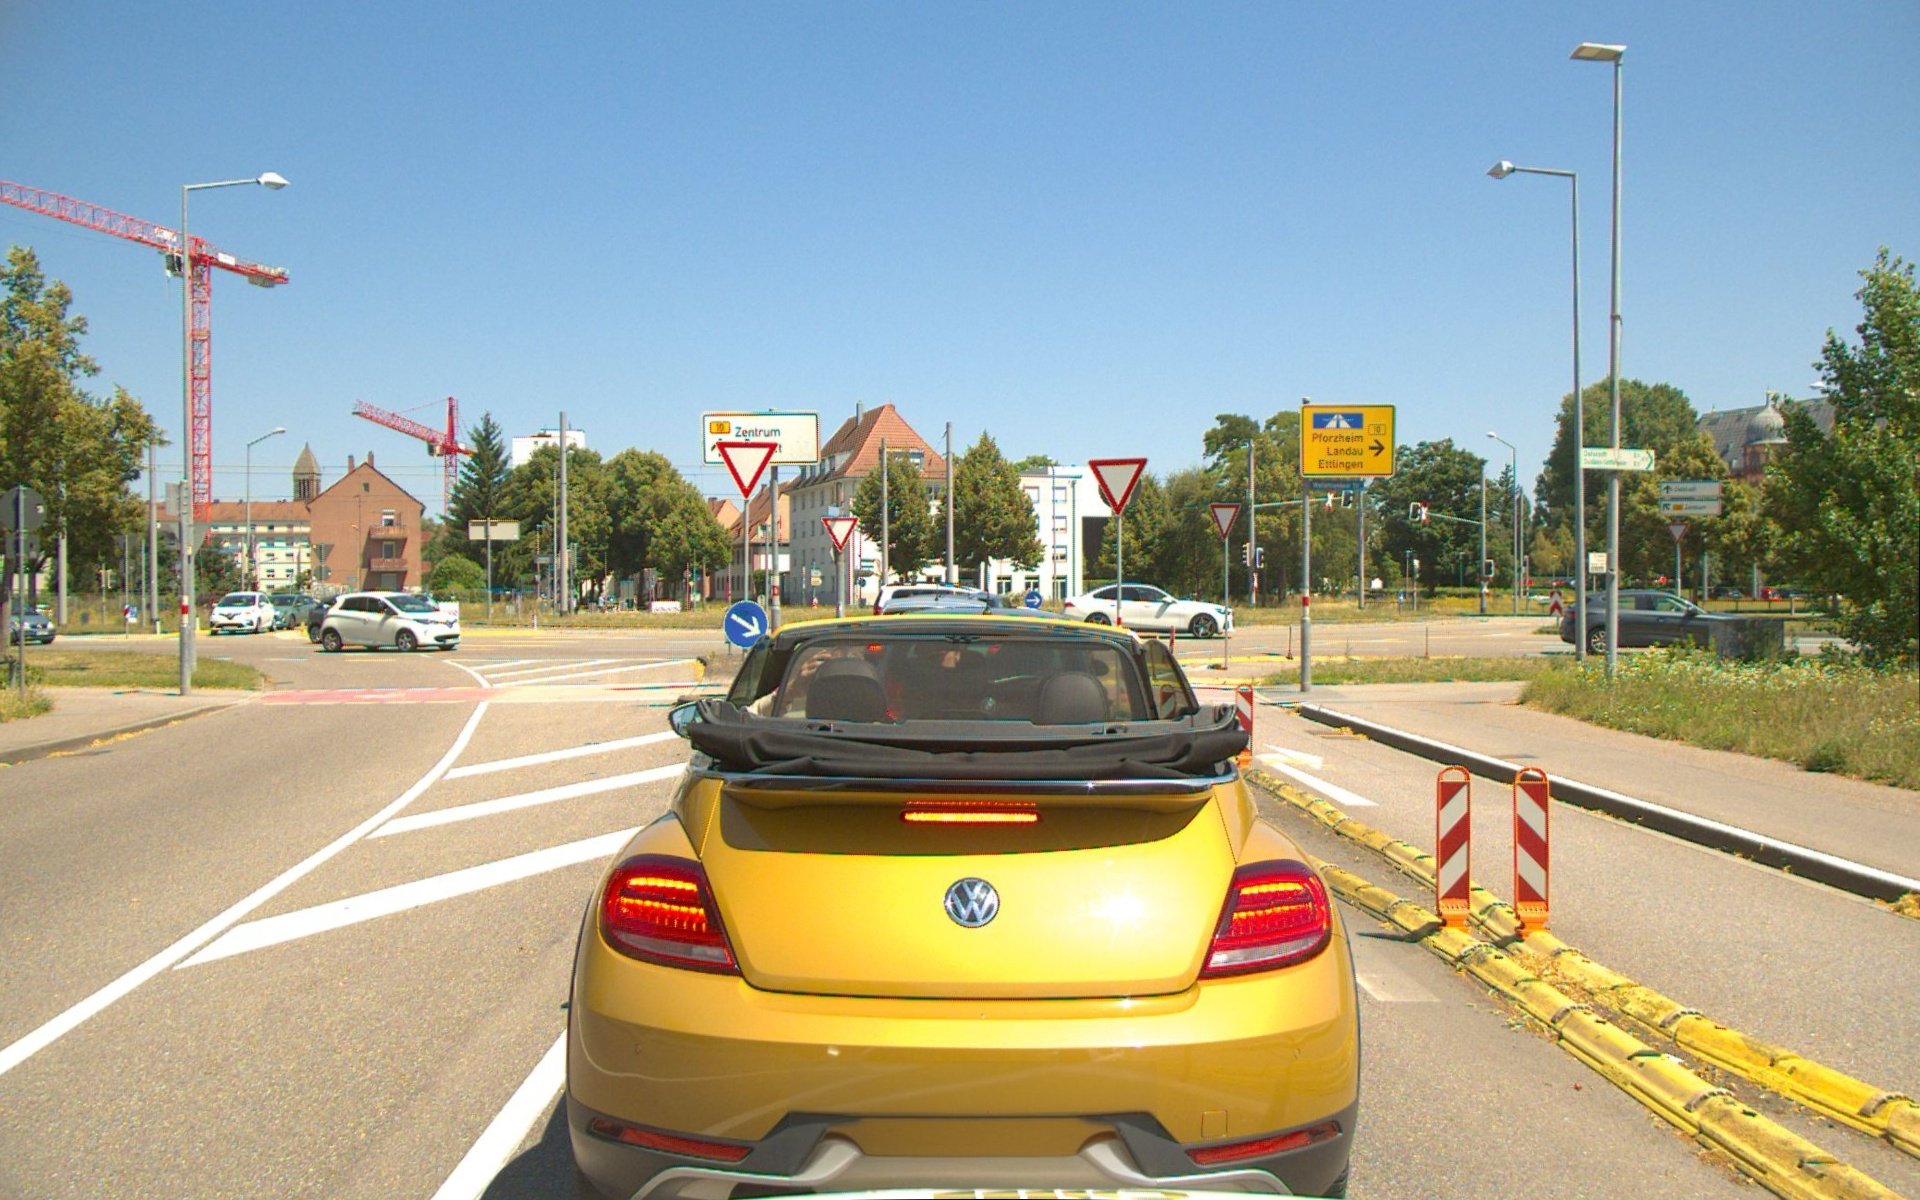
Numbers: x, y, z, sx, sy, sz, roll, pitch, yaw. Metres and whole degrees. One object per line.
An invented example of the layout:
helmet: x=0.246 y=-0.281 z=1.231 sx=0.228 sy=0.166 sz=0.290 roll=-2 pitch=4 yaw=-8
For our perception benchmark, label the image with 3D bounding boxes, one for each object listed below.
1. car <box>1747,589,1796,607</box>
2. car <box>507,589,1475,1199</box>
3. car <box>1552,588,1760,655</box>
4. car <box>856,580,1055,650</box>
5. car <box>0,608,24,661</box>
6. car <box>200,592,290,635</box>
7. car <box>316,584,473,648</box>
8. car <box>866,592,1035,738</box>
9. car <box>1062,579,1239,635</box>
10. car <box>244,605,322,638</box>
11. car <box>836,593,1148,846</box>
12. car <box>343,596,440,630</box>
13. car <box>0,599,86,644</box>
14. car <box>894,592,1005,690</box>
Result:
car: x=76.403 y=-0.190 z=155.793 sx=3.926 sy=1.744 sz=1.989 roll=0 pitch=0 yaw=-19
car: x=0.029 y=0.707 z=4.828 sx=1.717 sy=1.447 sz=3.776 roll=0 pitch=0 yaw=-1
car: x=15.844 y=0.468 z=37.861 sx=4.115 sy=1.467 sz=2.002 roll=0 pitch=0 yaw=13
car: x=-0.088 y=0.344 z=40.043 sx=4.477 sy=1.593 sz=2.002 roll=0 pitch=0 yaw=14
car: x=-32.113 y=1.096 z=53.396 sx=3.929 sy=1.648 sz=1.731 roll=0 pitch=0 yaw=34
car: x=-27.027 y=0.497 z=62.644 sx=1.720 sy=1.576 sz=3.999 roll=0 pitch=0 yaw=-1
car: x=-15.188 y=0.410 z=44.412 sx=3.919 sy=1.648 sz=1.679 roll=0 pitch=0 yaw=25
car: x=-0.122 y=0.652 z=18.655 sx=1.701 sy=1.467 sz=3.999 roll=0 pitch=0 yaw=-1
car: x=5.381 y=0.191 z=46.970 sx=4.885 sy=1.536 sz=2.001 roll=0 pitch=0 yaw=6
car: x=-27.828 y=0.867 z=68.111 sx=1.672 sy=1.258 sz=3.786 roll=0 pitch=0 yaw=-1
car: x=0.164 y=0.694 z=11.646 sx=1.810 sy=1.467 sz=3.999 roll=0 pitch=0 yaw=-1
car: x=-26.617 y=0.590 z=77.565 sx=1.676 sy=1.526 sz=4.210 roll=0 pitch=0 yaw=32
car: x=-32.974 y=0.726 z=58.635 sx=3.915 sy=1.522 sz=1.796 roll=0 pitch=0 yaw=32
car: x=-0.180 y=0.625 z=27.456 sx=1.701 sy=1.503 sz=3.999 roll=0 pitch=0 yaw=-1
